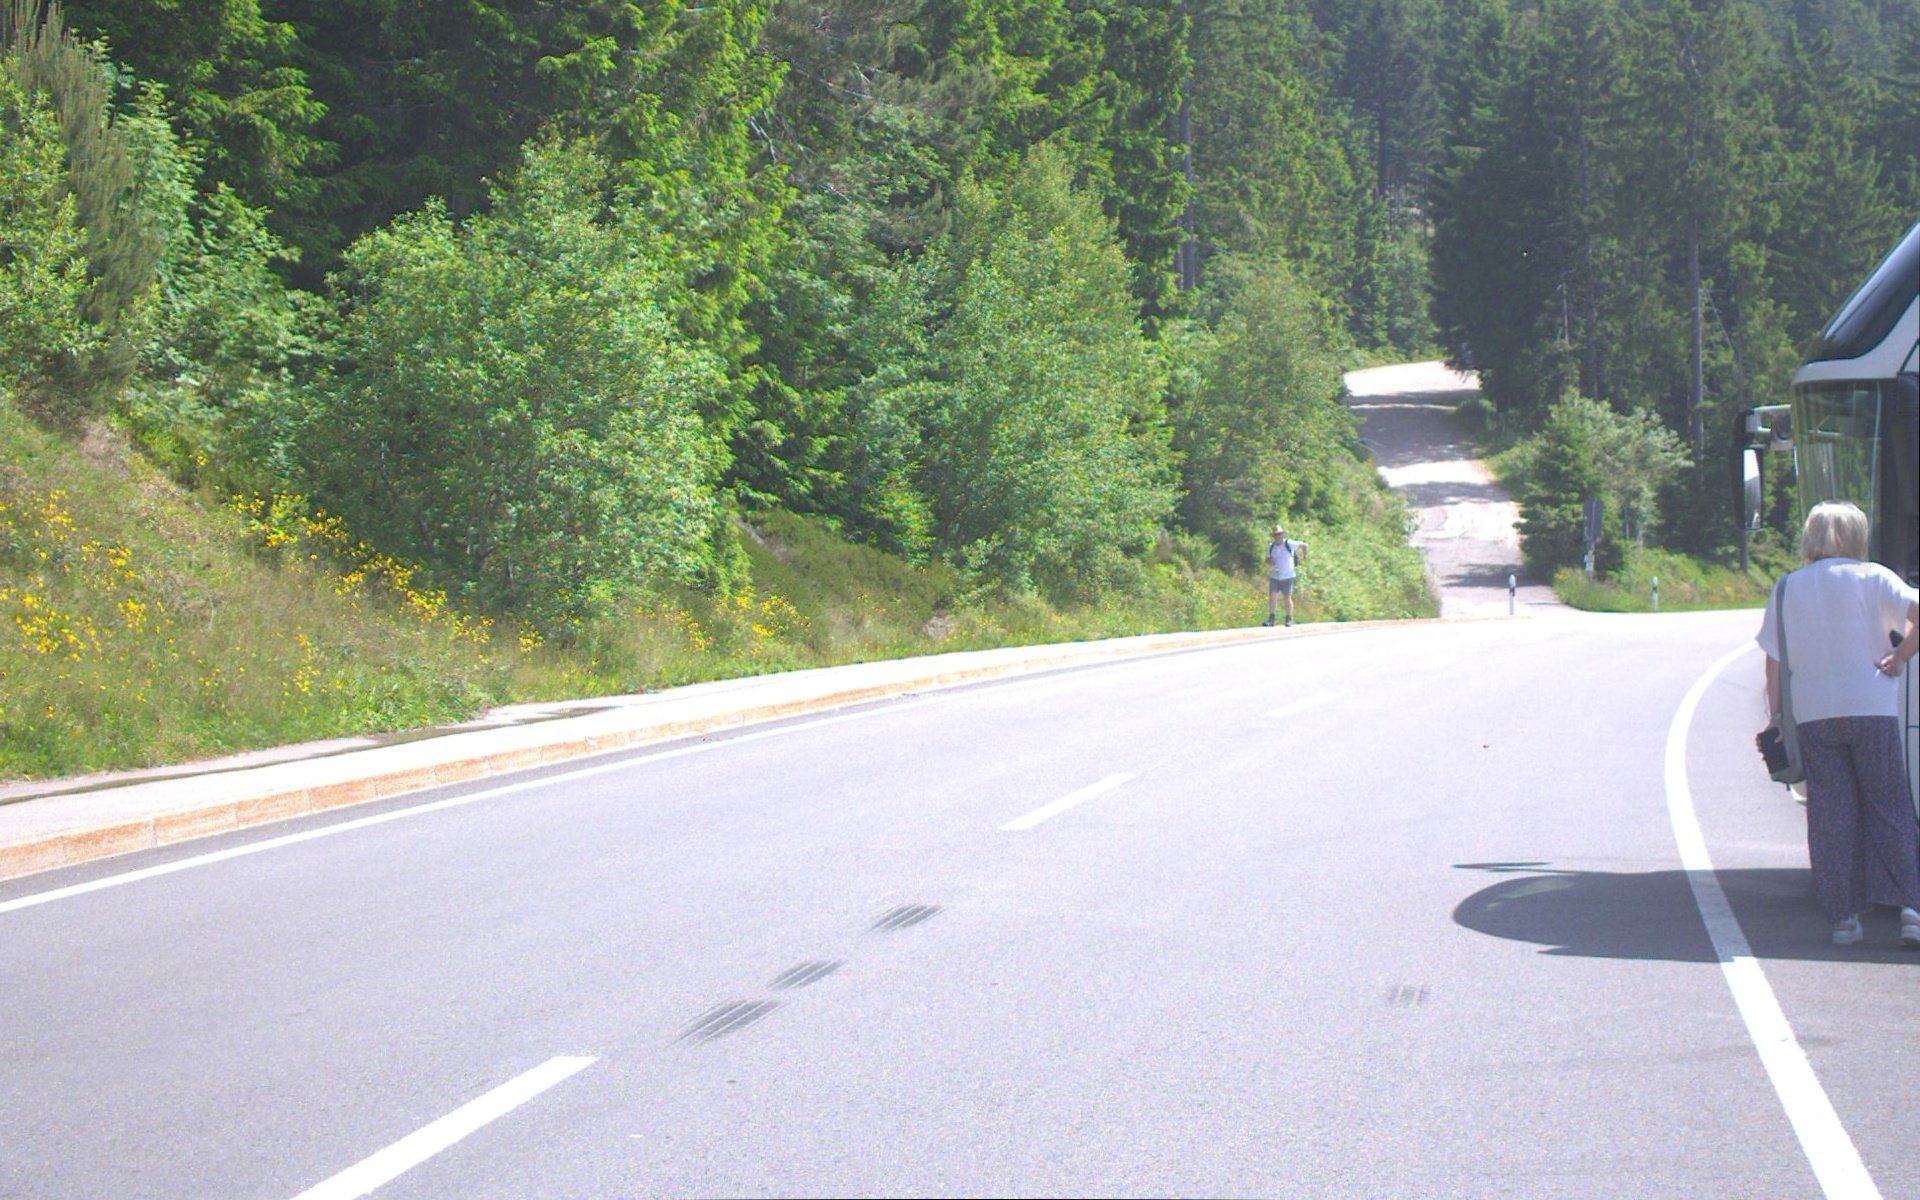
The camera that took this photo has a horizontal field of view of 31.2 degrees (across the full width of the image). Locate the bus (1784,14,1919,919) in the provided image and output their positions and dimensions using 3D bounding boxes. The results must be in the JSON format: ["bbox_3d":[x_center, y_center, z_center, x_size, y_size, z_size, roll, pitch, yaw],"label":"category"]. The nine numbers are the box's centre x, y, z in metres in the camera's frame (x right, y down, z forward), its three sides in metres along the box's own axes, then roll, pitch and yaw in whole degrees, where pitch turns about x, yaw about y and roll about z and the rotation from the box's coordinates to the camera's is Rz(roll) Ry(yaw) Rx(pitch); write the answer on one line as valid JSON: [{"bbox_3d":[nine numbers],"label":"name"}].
[{"bbox_3d":[9.861,-0.496,13.332,12.855,3.565,2.837,1,1,16],"label":"bus"}]

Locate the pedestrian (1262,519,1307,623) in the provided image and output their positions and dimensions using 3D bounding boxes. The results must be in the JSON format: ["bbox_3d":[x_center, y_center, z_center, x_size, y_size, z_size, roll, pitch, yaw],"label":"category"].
[{"bbox_3d":[5.486,-0.489,58.140,0.682,1.740,0.825,1,1,9],"label":"pedestrian"}]

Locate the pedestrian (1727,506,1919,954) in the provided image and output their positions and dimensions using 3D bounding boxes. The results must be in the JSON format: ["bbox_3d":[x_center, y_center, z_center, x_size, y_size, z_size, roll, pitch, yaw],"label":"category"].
[{"bbox_3d":[3.270,0.469,13.005,0.707,1.637,0.744,0,1,12],"label":"pedestrian"}]
